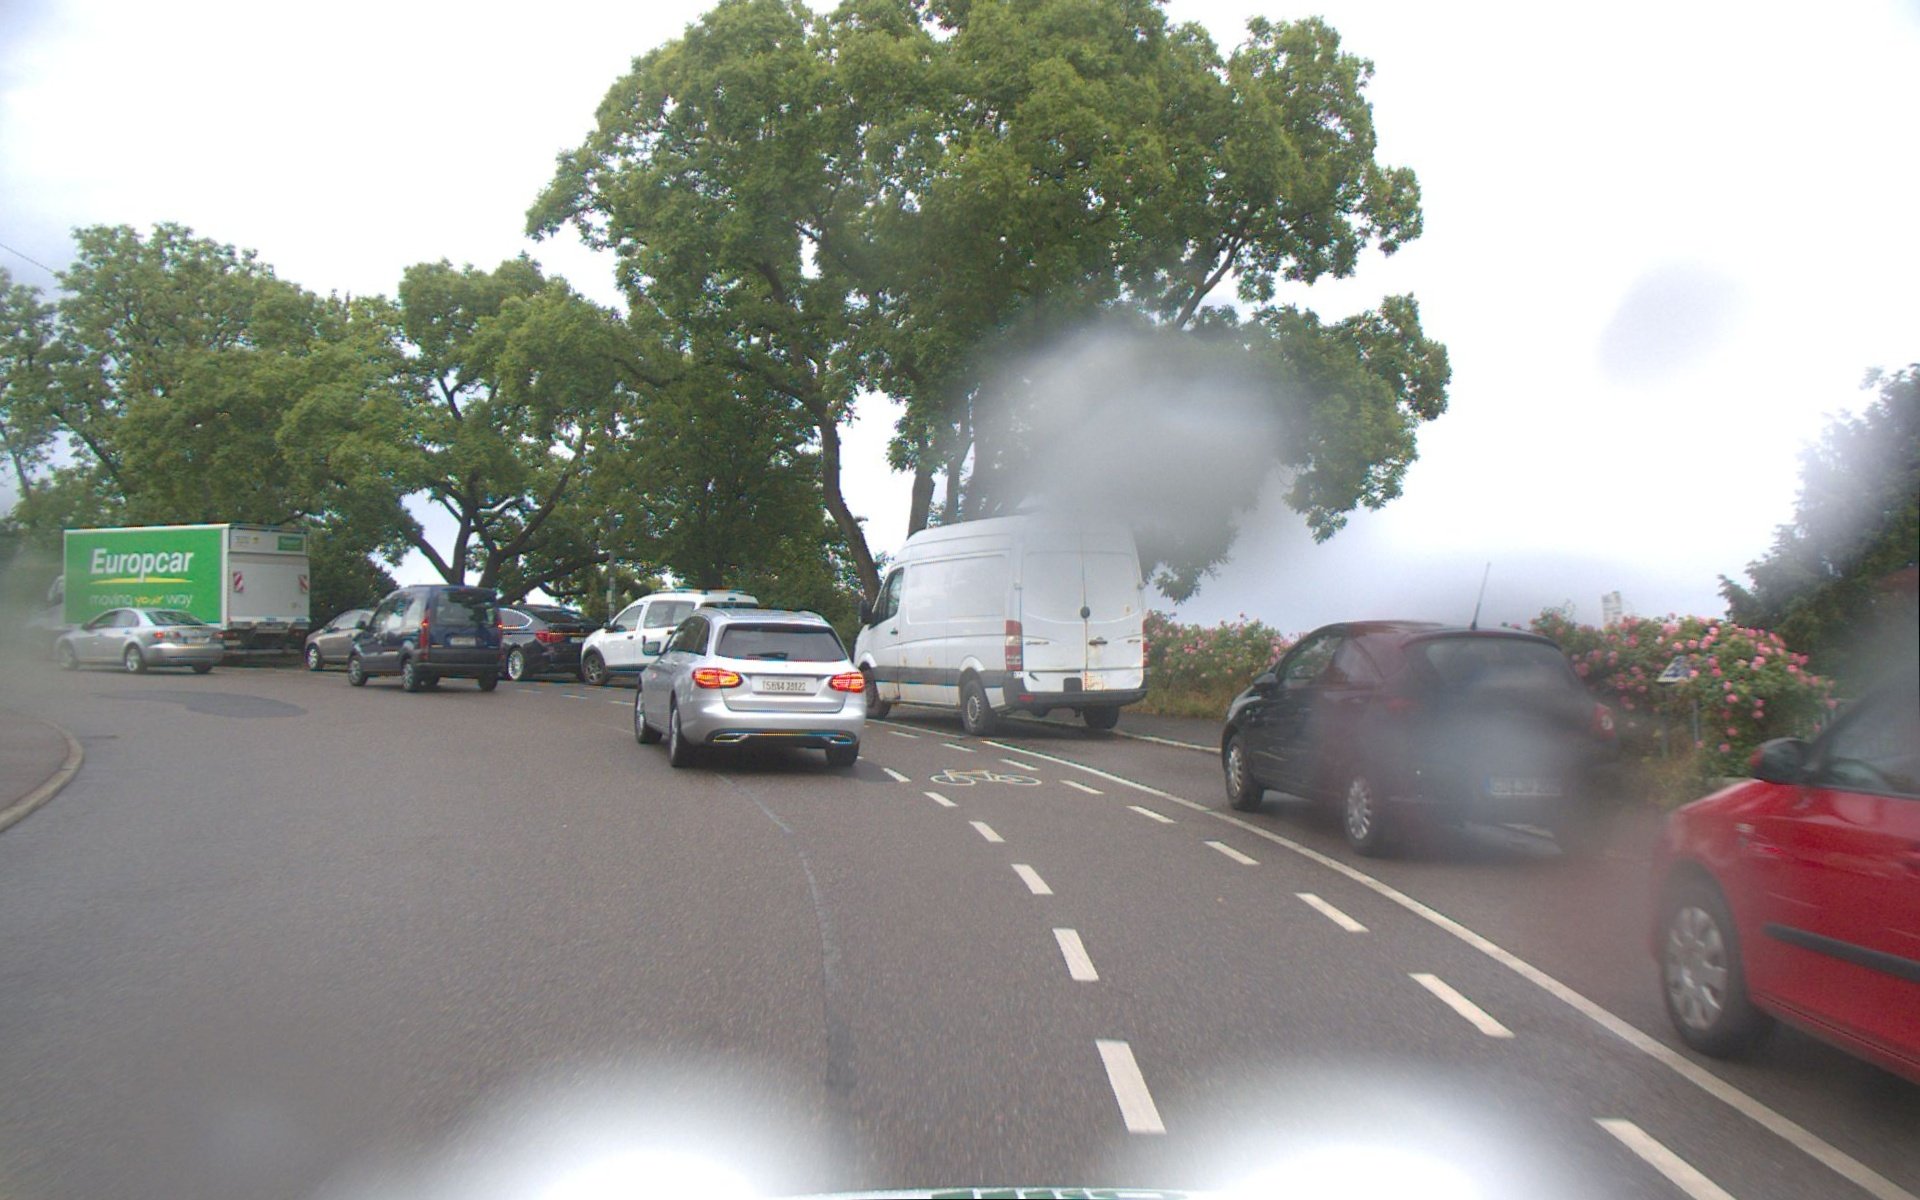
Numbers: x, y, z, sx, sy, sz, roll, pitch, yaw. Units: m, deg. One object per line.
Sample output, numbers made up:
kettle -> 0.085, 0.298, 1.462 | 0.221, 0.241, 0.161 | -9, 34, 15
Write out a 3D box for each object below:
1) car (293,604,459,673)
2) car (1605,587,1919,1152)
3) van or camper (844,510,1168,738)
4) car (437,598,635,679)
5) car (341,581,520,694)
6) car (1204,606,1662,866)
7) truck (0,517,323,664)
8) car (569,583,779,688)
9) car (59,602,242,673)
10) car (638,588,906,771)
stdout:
car -> -13.763, 0.874, 38.896 | 4.053, 1.529, 1.733 | 0, 0, 36
car -> 3.459, 0.747, 4.534 | 1.588, 1.567, 4.213 | 0, 0, -3
van or camper -> 0.399, 0.258, 22.101 | 2.039, 2.626, 5.843 | 0, 0, -24
car -> -9.004, 0.762, 34.904 | 4.812, 1.569, 1.853 | 0, 0, 44
car -> -9.688, 0.620, 30.090 | 1.812, 1.915, 4.038 | 0, 0, -38
car -> 3.142, 0.835, 11.873 | 1.663, 1.469, 3.940 | 3, 0, -8
truck -> -20.889, -0.249, 43.060 | 8.727, 3.531, 2.780 | 0, 0, 25
car -> -5.489, 0.627, 31.413 | 4.348, 1.853, 1.740 | 0, 0, 44
car -> -18.017, 0.791, 36.761 | 4.008, 1.484, 1.855 | 0, 0, 33
car -> -2.031, 0.745, 16.641 | 1.951, 1.581, 4.277 | 1, -1, -17
